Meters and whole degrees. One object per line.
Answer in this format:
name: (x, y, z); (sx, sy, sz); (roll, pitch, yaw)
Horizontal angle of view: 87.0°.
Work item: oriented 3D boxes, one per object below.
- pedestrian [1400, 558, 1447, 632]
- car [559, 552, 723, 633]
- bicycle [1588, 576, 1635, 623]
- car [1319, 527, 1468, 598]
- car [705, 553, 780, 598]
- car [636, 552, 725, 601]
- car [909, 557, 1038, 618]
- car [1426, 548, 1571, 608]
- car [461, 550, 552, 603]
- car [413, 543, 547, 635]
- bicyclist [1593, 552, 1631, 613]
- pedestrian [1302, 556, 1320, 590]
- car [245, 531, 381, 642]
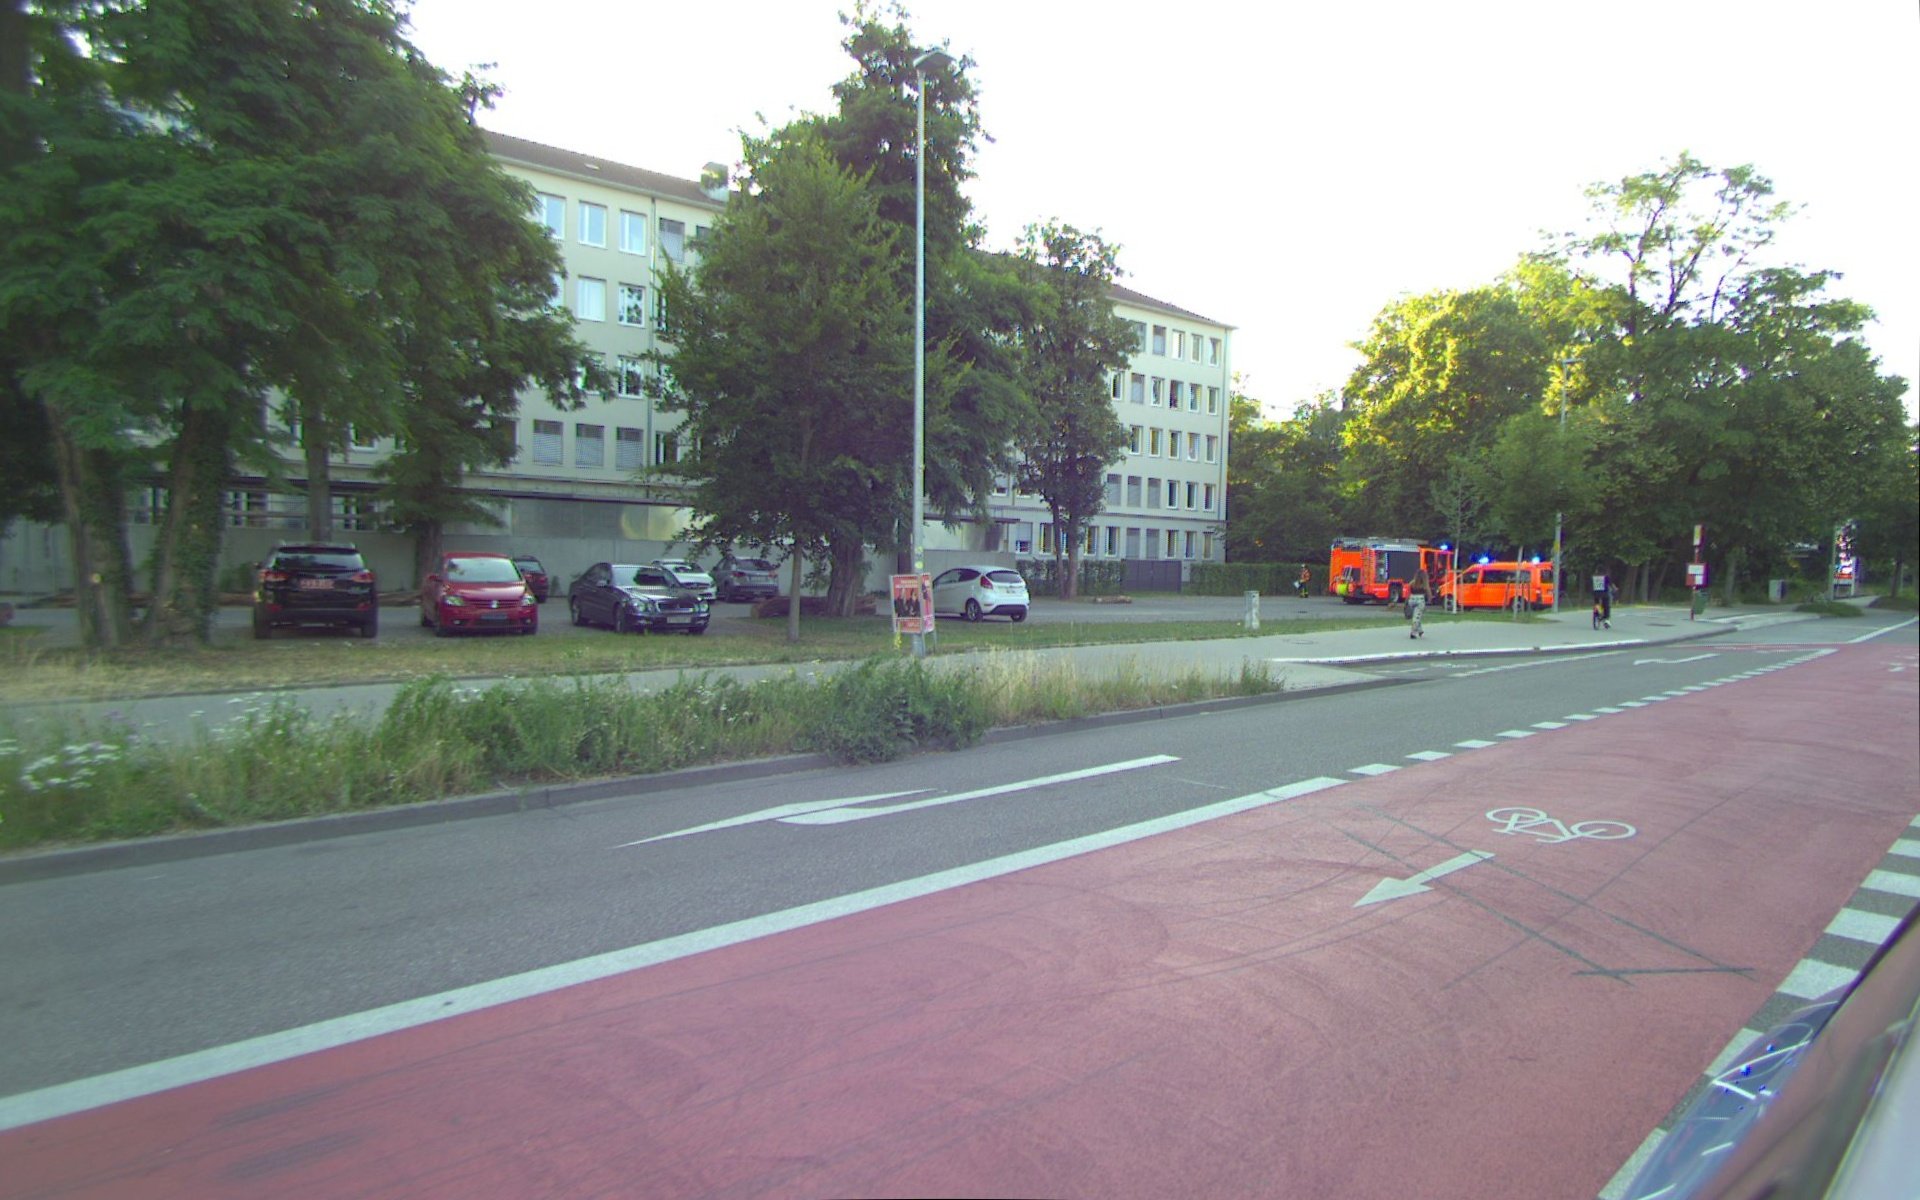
pedestrian: (10.492, -0.122, 22.915); (0.676, 1.642, 0.682); (0, 2, -41)
car: (-6.863, -0.235, 21.456); (1.884, 1.481, 4.519); (-1, 3, -37)
bicycle: (18.217, -0.029, 28.287); (1.866, 1.256, 0.571); (-1, 3, -41)
car: (21.487, -1.831, 49.969); (8.139, 3.283, 2.775); (-1, 3, -34)
car: (-7.681, -0.890, 35.547); (1.734, 1.477, 3.320); (0, 3, -27)
car: (-9.497, -0.826, 34.150); (1.880, 1.540, 3.921); (0, 3, -32)
car: (0.301, -0.373, 27.320); (1.633, 1.477, 3.667); (0, 3, -35)
car: (23.304, -1.020, 44.011); (1.963, 2.422, 5.168); (0, 3, -37)
car: (-14.005, -0.754, 31.164); (1.738, 1.477, 3.626); (-1, 3, -38)
car: (-9.589, -0.297, 20.063); (1.882, 1.630, 4.003); (0, 3, -33)
bicyclist: (18.218, -0.494, 28.271); (1.020, 1.652, 0.571); (-1, 3, -41)
pedestrian: (19.359, -1.487, 55.854); (0.834, 1.864, 0.680); (2, 2, 16)
car: (-11.771, -0.332, 18.329); (1.882, 1.761, 4.241); (0, 3, -35)
